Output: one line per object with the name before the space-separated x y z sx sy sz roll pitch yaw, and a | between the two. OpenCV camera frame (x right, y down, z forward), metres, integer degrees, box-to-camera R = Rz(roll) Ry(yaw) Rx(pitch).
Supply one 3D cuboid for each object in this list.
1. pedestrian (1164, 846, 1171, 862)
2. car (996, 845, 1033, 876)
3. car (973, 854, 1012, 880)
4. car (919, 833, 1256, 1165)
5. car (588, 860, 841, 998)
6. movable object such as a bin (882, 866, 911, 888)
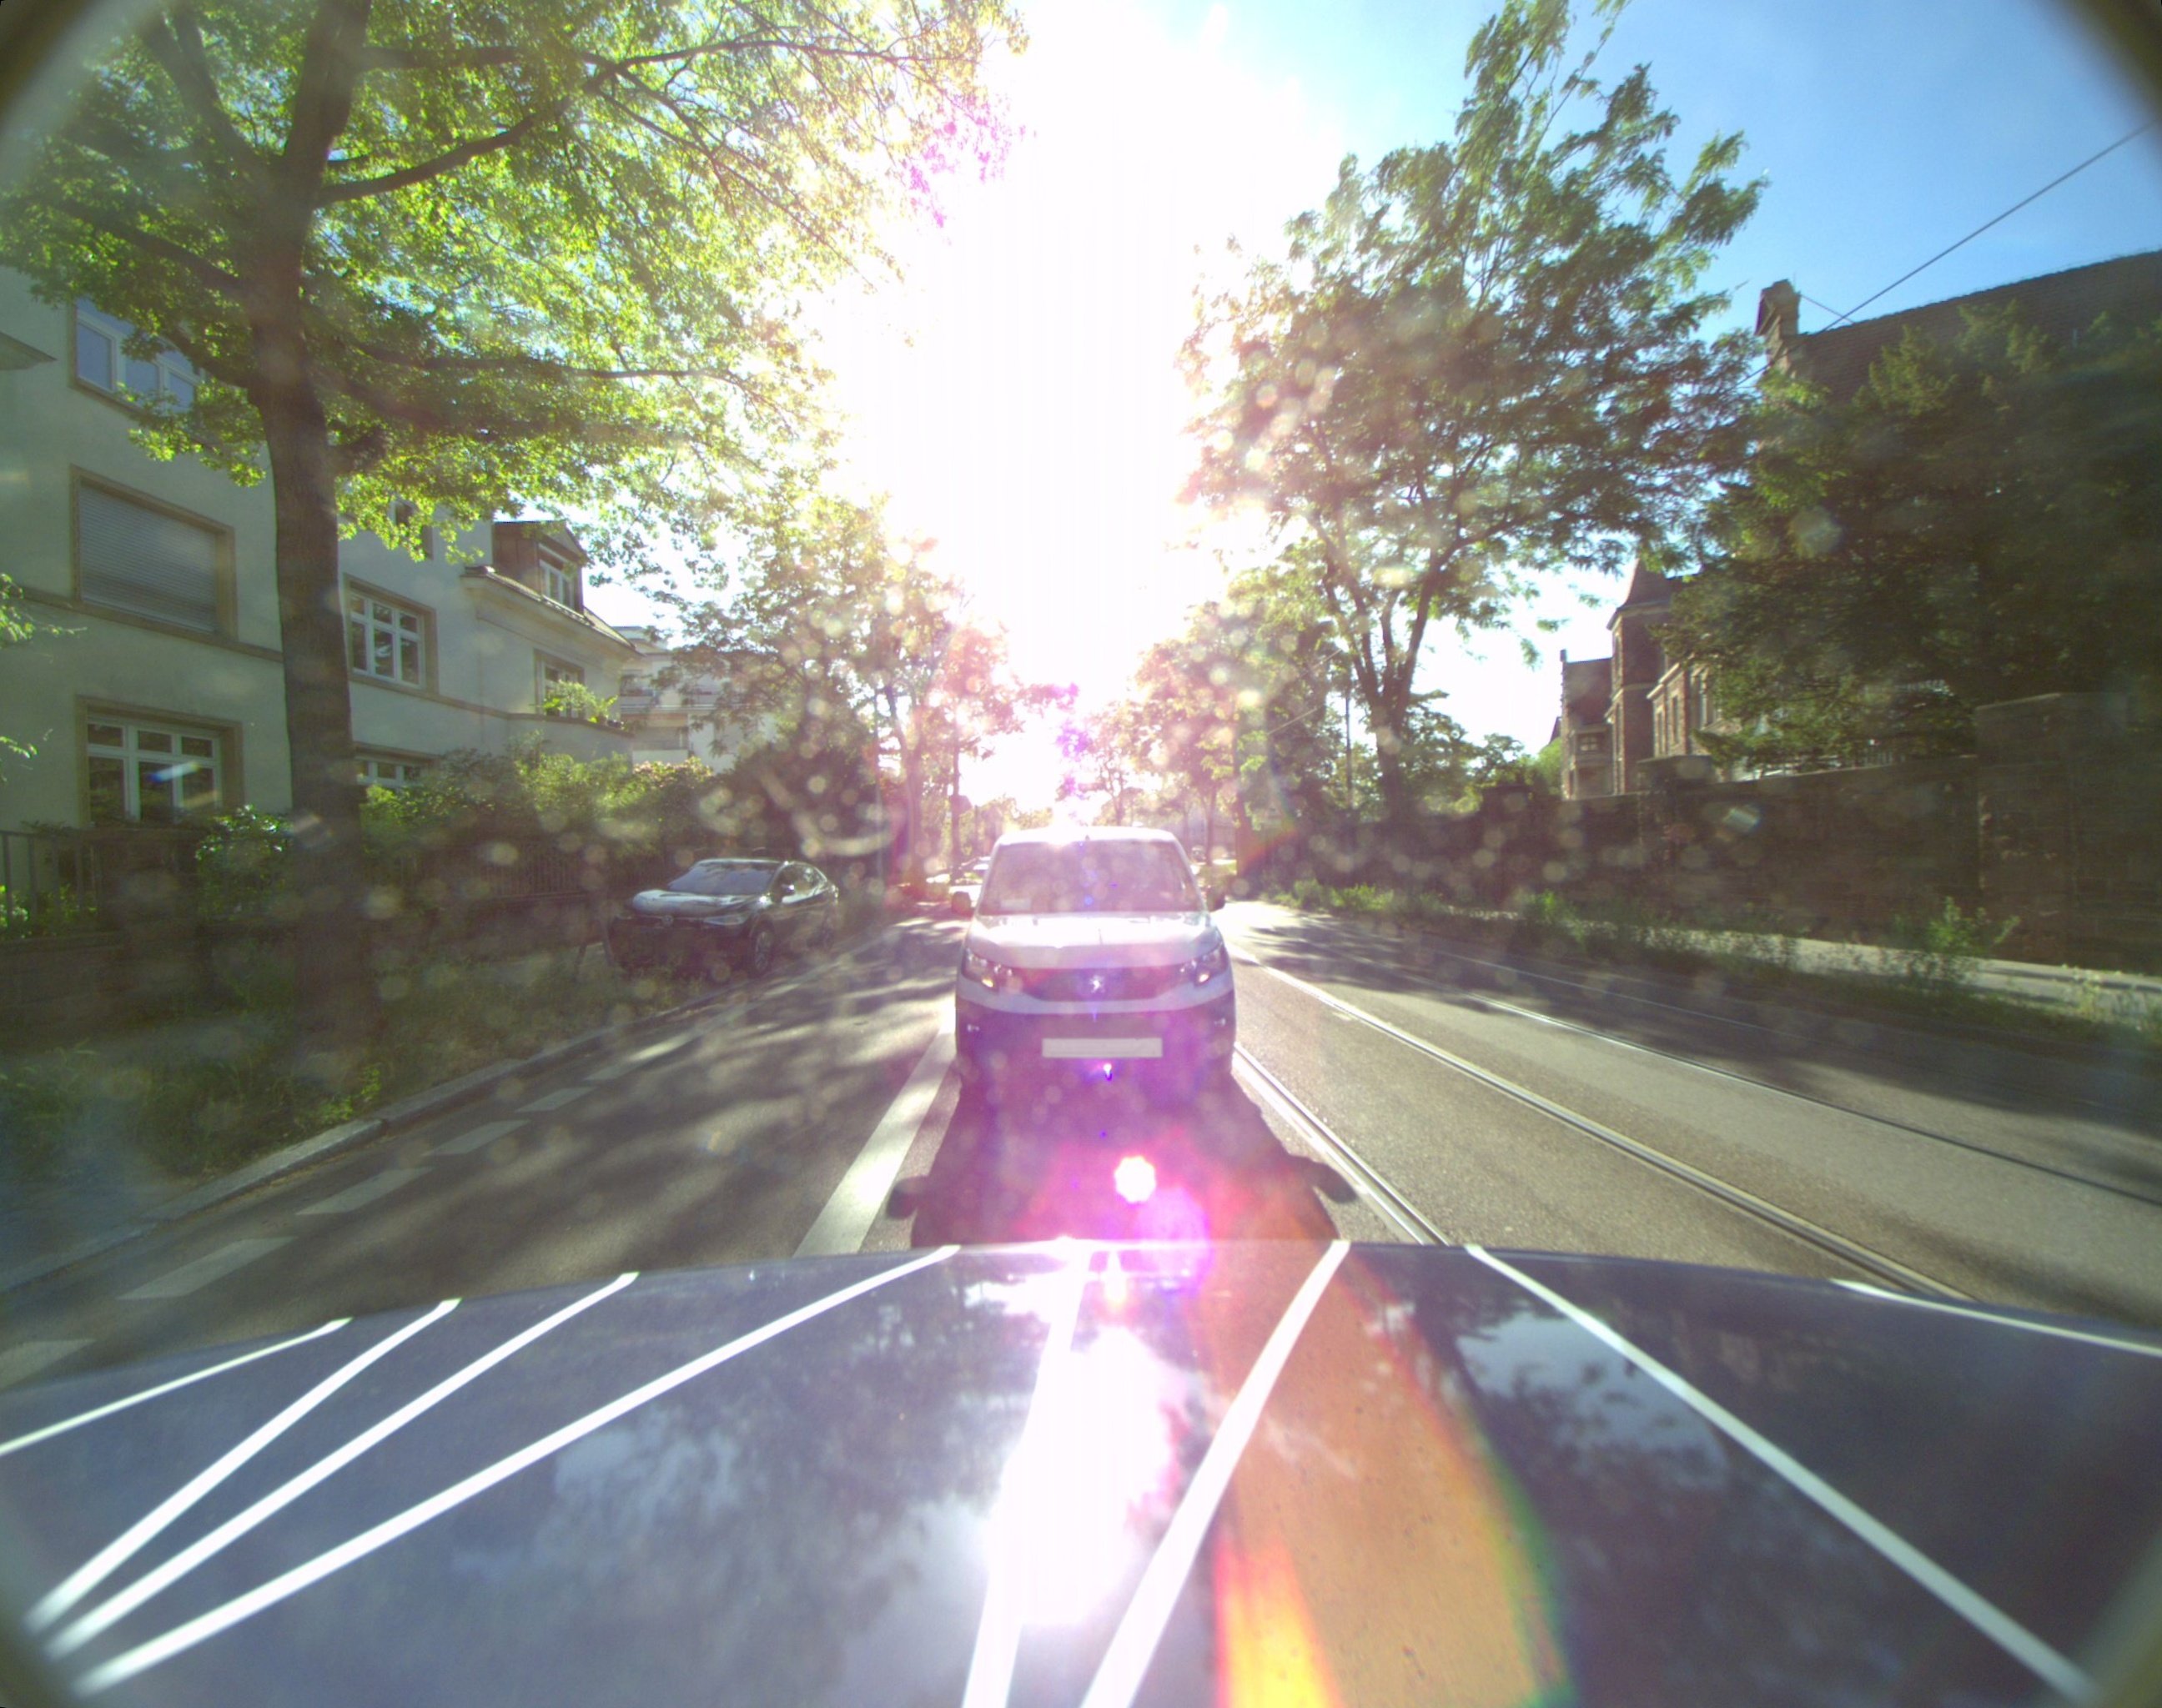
pedestrian | 9.441 0.011 82.853 0.634 1.796 0.674 -1 1 23
car | -4.489 0.432 51.931 1.998 2.002 4.583 -2 0 1
car | -5.242 0.754 45.466 1.787 1.443 4.000 -2 0 1
car | 0.052 0.786 6.537 1.793 1.770 4.786 -2 0 0
car | -5.180 0.945 11.436 1.743 1.597 4.091 2 0 1
movable object such as a bin | -8.967 1.119 36.920 1.088 1.051 0.713 -1 1 21
